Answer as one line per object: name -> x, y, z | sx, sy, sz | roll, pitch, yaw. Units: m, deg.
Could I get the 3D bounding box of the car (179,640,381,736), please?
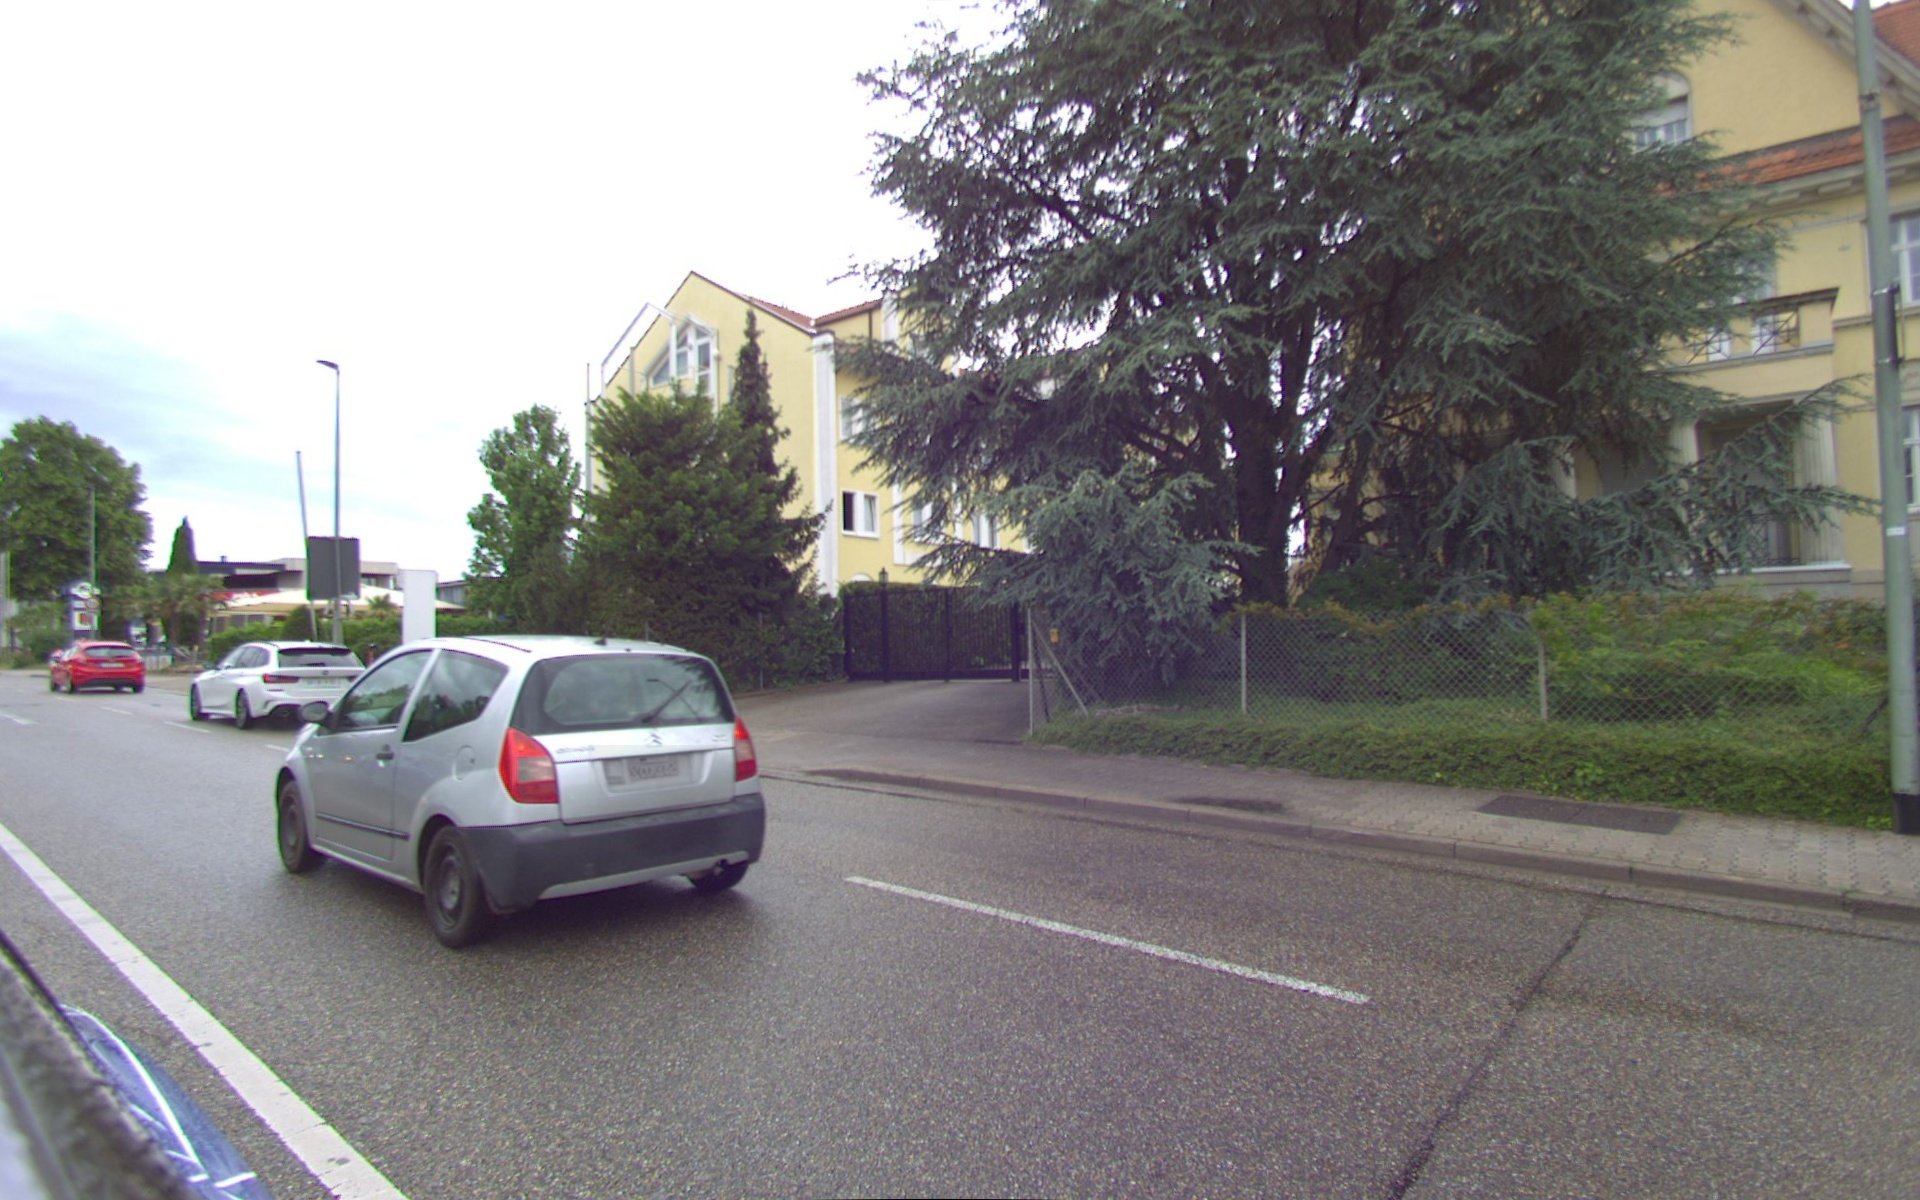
car -> -12.037, 1.443, 17.797 | 4.428, 1.471, 1.767 | -2, -3, 40

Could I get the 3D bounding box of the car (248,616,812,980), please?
car -> -2.647, 0.870, 5.897 | 3.516, 1.471, 1.622 | -2, -4, 41

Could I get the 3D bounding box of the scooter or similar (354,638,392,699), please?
scooter or similar -> -14.270, 1.649, 24.597 | 0.498, 1.416, 1.884 | 2, -2, -39

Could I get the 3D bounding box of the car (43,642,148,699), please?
car -> -24.764, 1.962, 28.944 | 3.777, 1.487, 1.678 | -1, -2, 40
